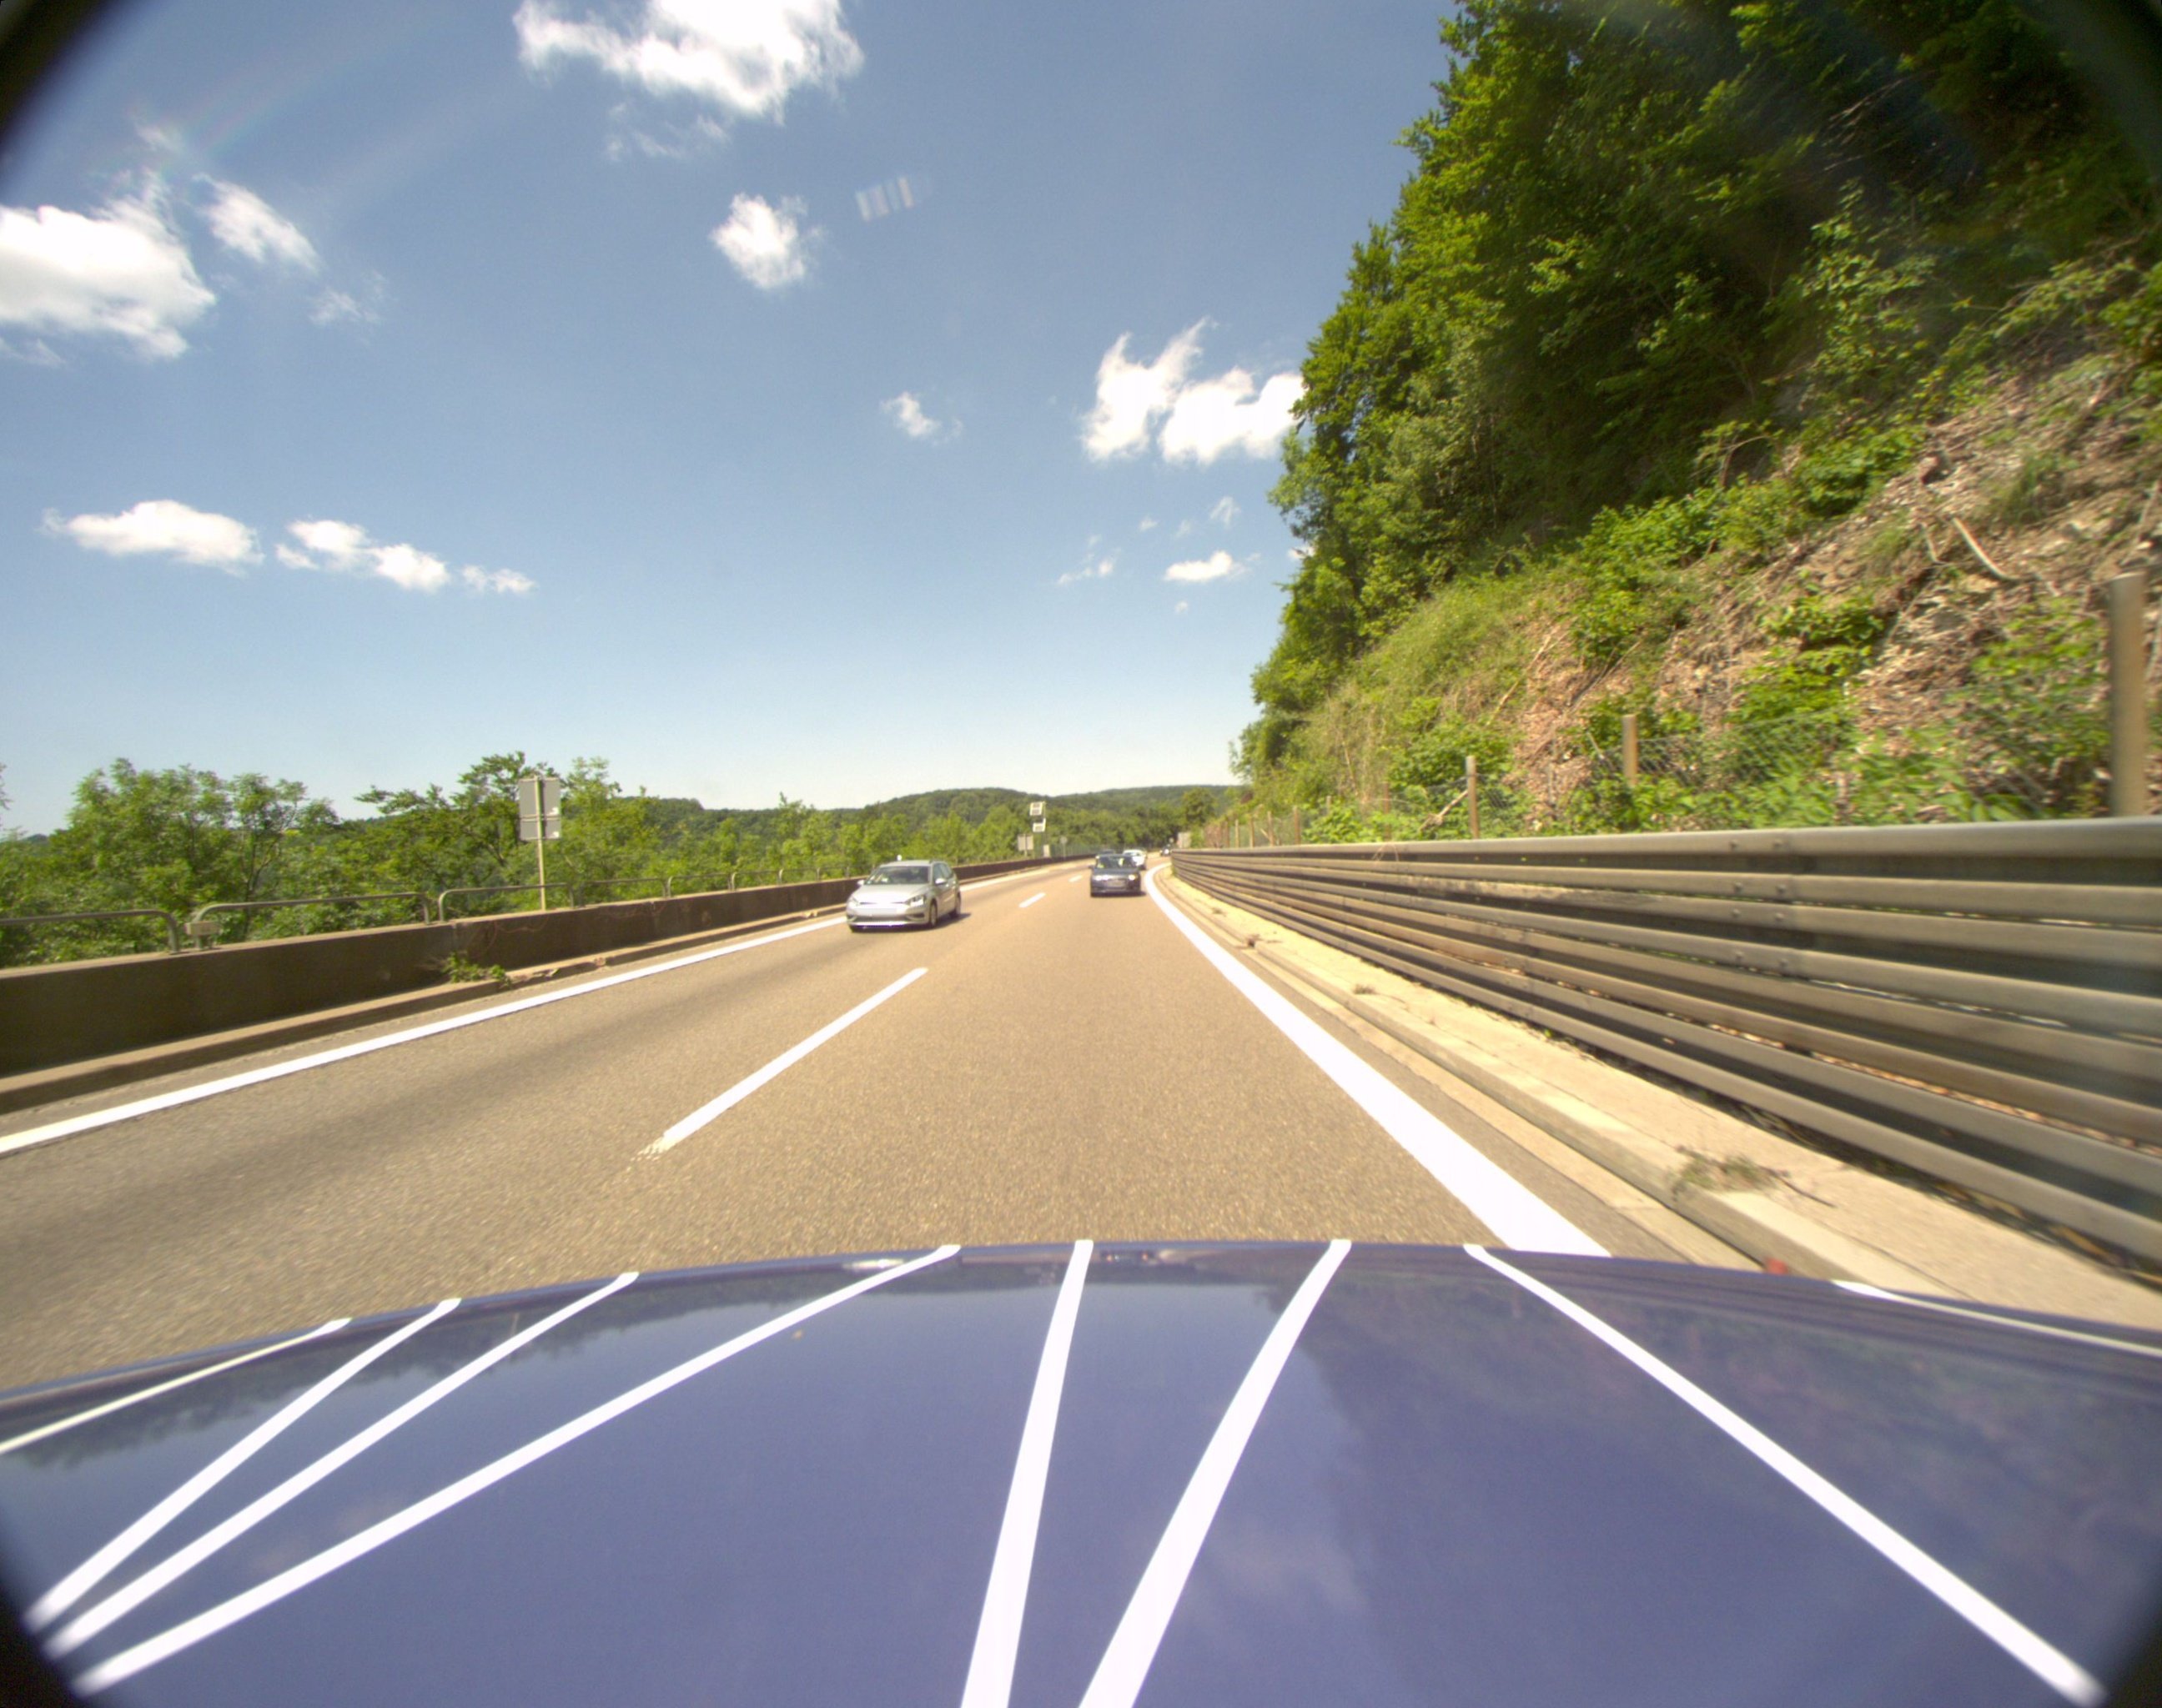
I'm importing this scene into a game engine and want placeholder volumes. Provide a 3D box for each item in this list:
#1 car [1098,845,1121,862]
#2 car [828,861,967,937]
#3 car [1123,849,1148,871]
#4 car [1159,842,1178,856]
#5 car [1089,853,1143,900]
[{"bbox_3d":[2.875,-0.059,75.195,1.874,1.565,4.002,-1,1,7],"label":"car"},{"bbox_3d":[-3.976,0.916,17.280,1.972,1.370,4.293,-1,1,2],"label":"car"},{"bbox_3d":[4.019,0.402,55.925,1.702,1.432,4.044,-1,1,4],"label":"car"},{"bbox_3d":[12.962,-0.759,112.264,1.996,2.002,4.004,-2,1,16],"label":"car"},{"bbox_3d":[1.251,0.719,26.192,1.668,1.415,4.044,-1,1,4],"label":"car"}]
